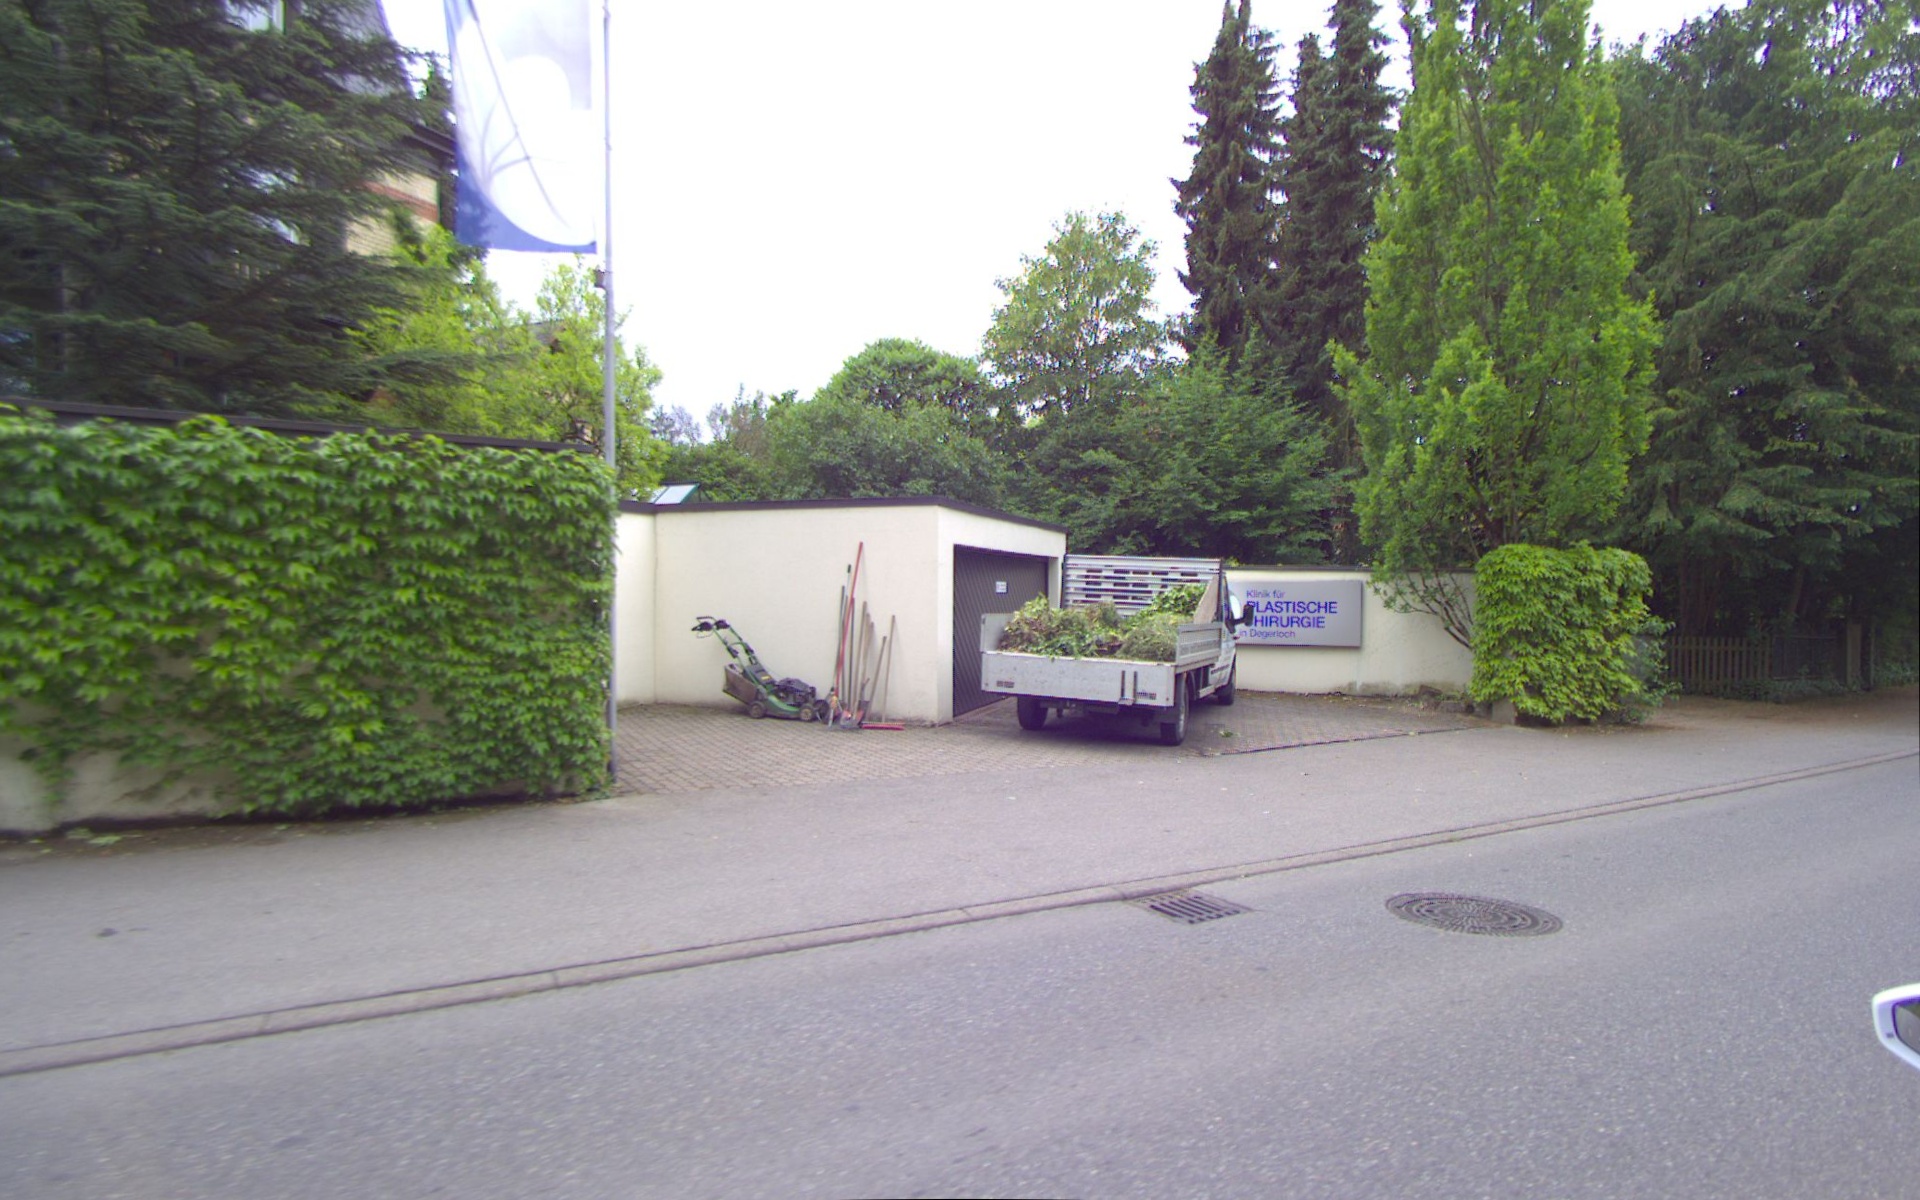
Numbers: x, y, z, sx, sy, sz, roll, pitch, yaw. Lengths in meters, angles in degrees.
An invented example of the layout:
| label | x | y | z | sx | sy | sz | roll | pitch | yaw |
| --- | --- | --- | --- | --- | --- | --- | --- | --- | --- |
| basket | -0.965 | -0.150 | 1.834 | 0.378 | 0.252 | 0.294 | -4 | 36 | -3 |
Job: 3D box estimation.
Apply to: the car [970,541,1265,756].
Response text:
| label | x | y | z | sx | sy | sz | roll | pitch | yaw |
| --- | --- | --- | --- | --- | --- | --- | --- | --- | --- |
| car | 2.291 | 0.491 | 12.776 | 2.380 | 2.100 | 5.358 | 1 | 0 | 24 |
